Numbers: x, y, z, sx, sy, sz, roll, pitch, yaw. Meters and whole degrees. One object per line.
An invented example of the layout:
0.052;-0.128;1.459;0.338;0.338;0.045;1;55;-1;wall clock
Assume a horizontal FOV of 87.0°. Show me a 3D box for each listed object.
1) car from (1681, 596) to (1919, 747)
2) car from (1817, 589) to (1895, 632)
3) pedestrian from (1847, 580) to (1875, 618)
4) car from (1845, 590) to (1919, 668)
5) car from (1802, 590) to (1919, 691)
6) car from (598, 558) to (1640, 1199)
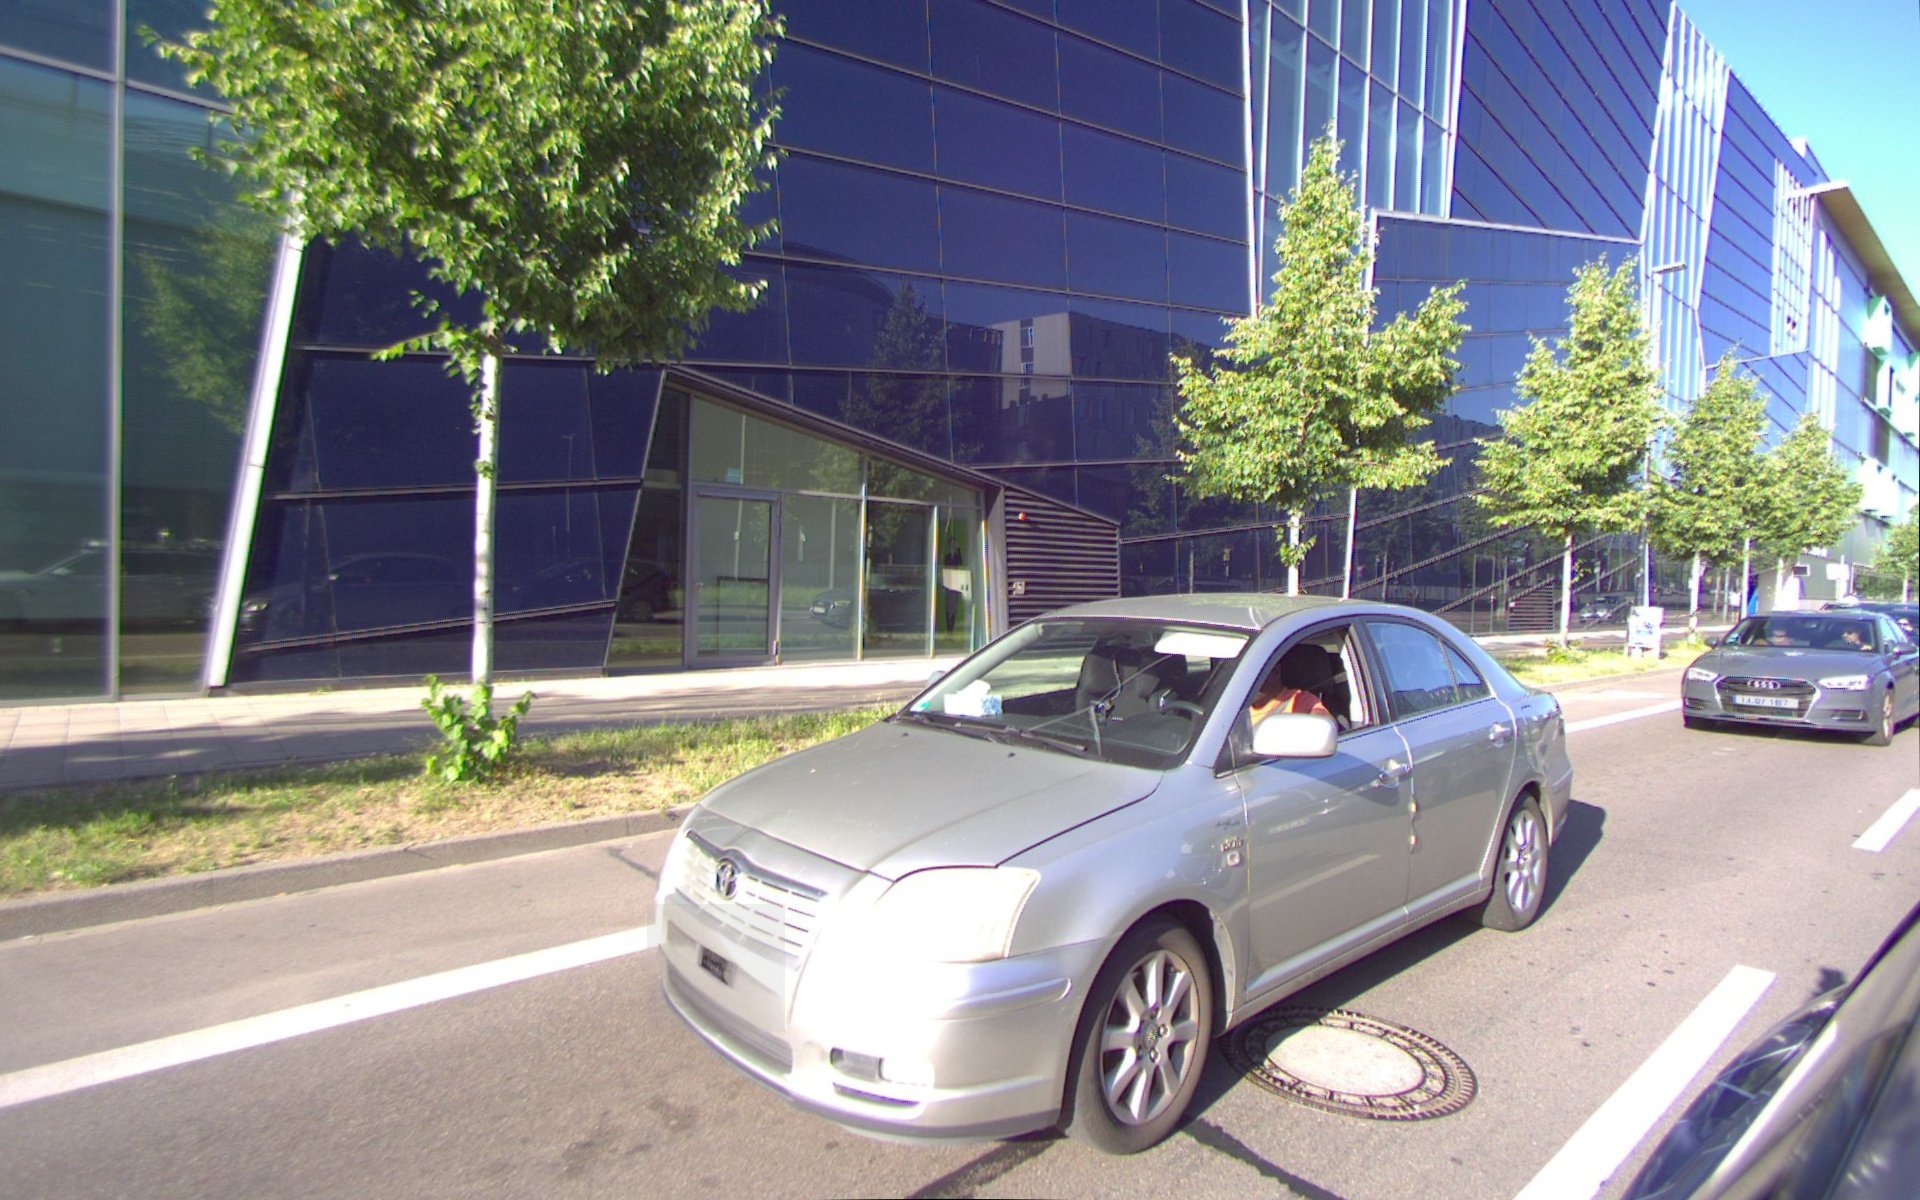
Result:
10.149;0.684;11.827;4.187;1.409;1.750;0;1;-39;car
36.446;0.398;41.129;4.633;1.516;1.739;0;4;-41;car
46.252;-0.047;51.961;0.889;1.846;0.829;0;5;-41;pedestrian
19.528;0.559;20.681;3.358;1.497;1.752;0;1;-41;car
15.478;0.609;16.777;3.902;1.497;1.752;0;1;-41;car
1.069;0.624;4.227;4.547;1.499;1.749;-1;2;-40;car
